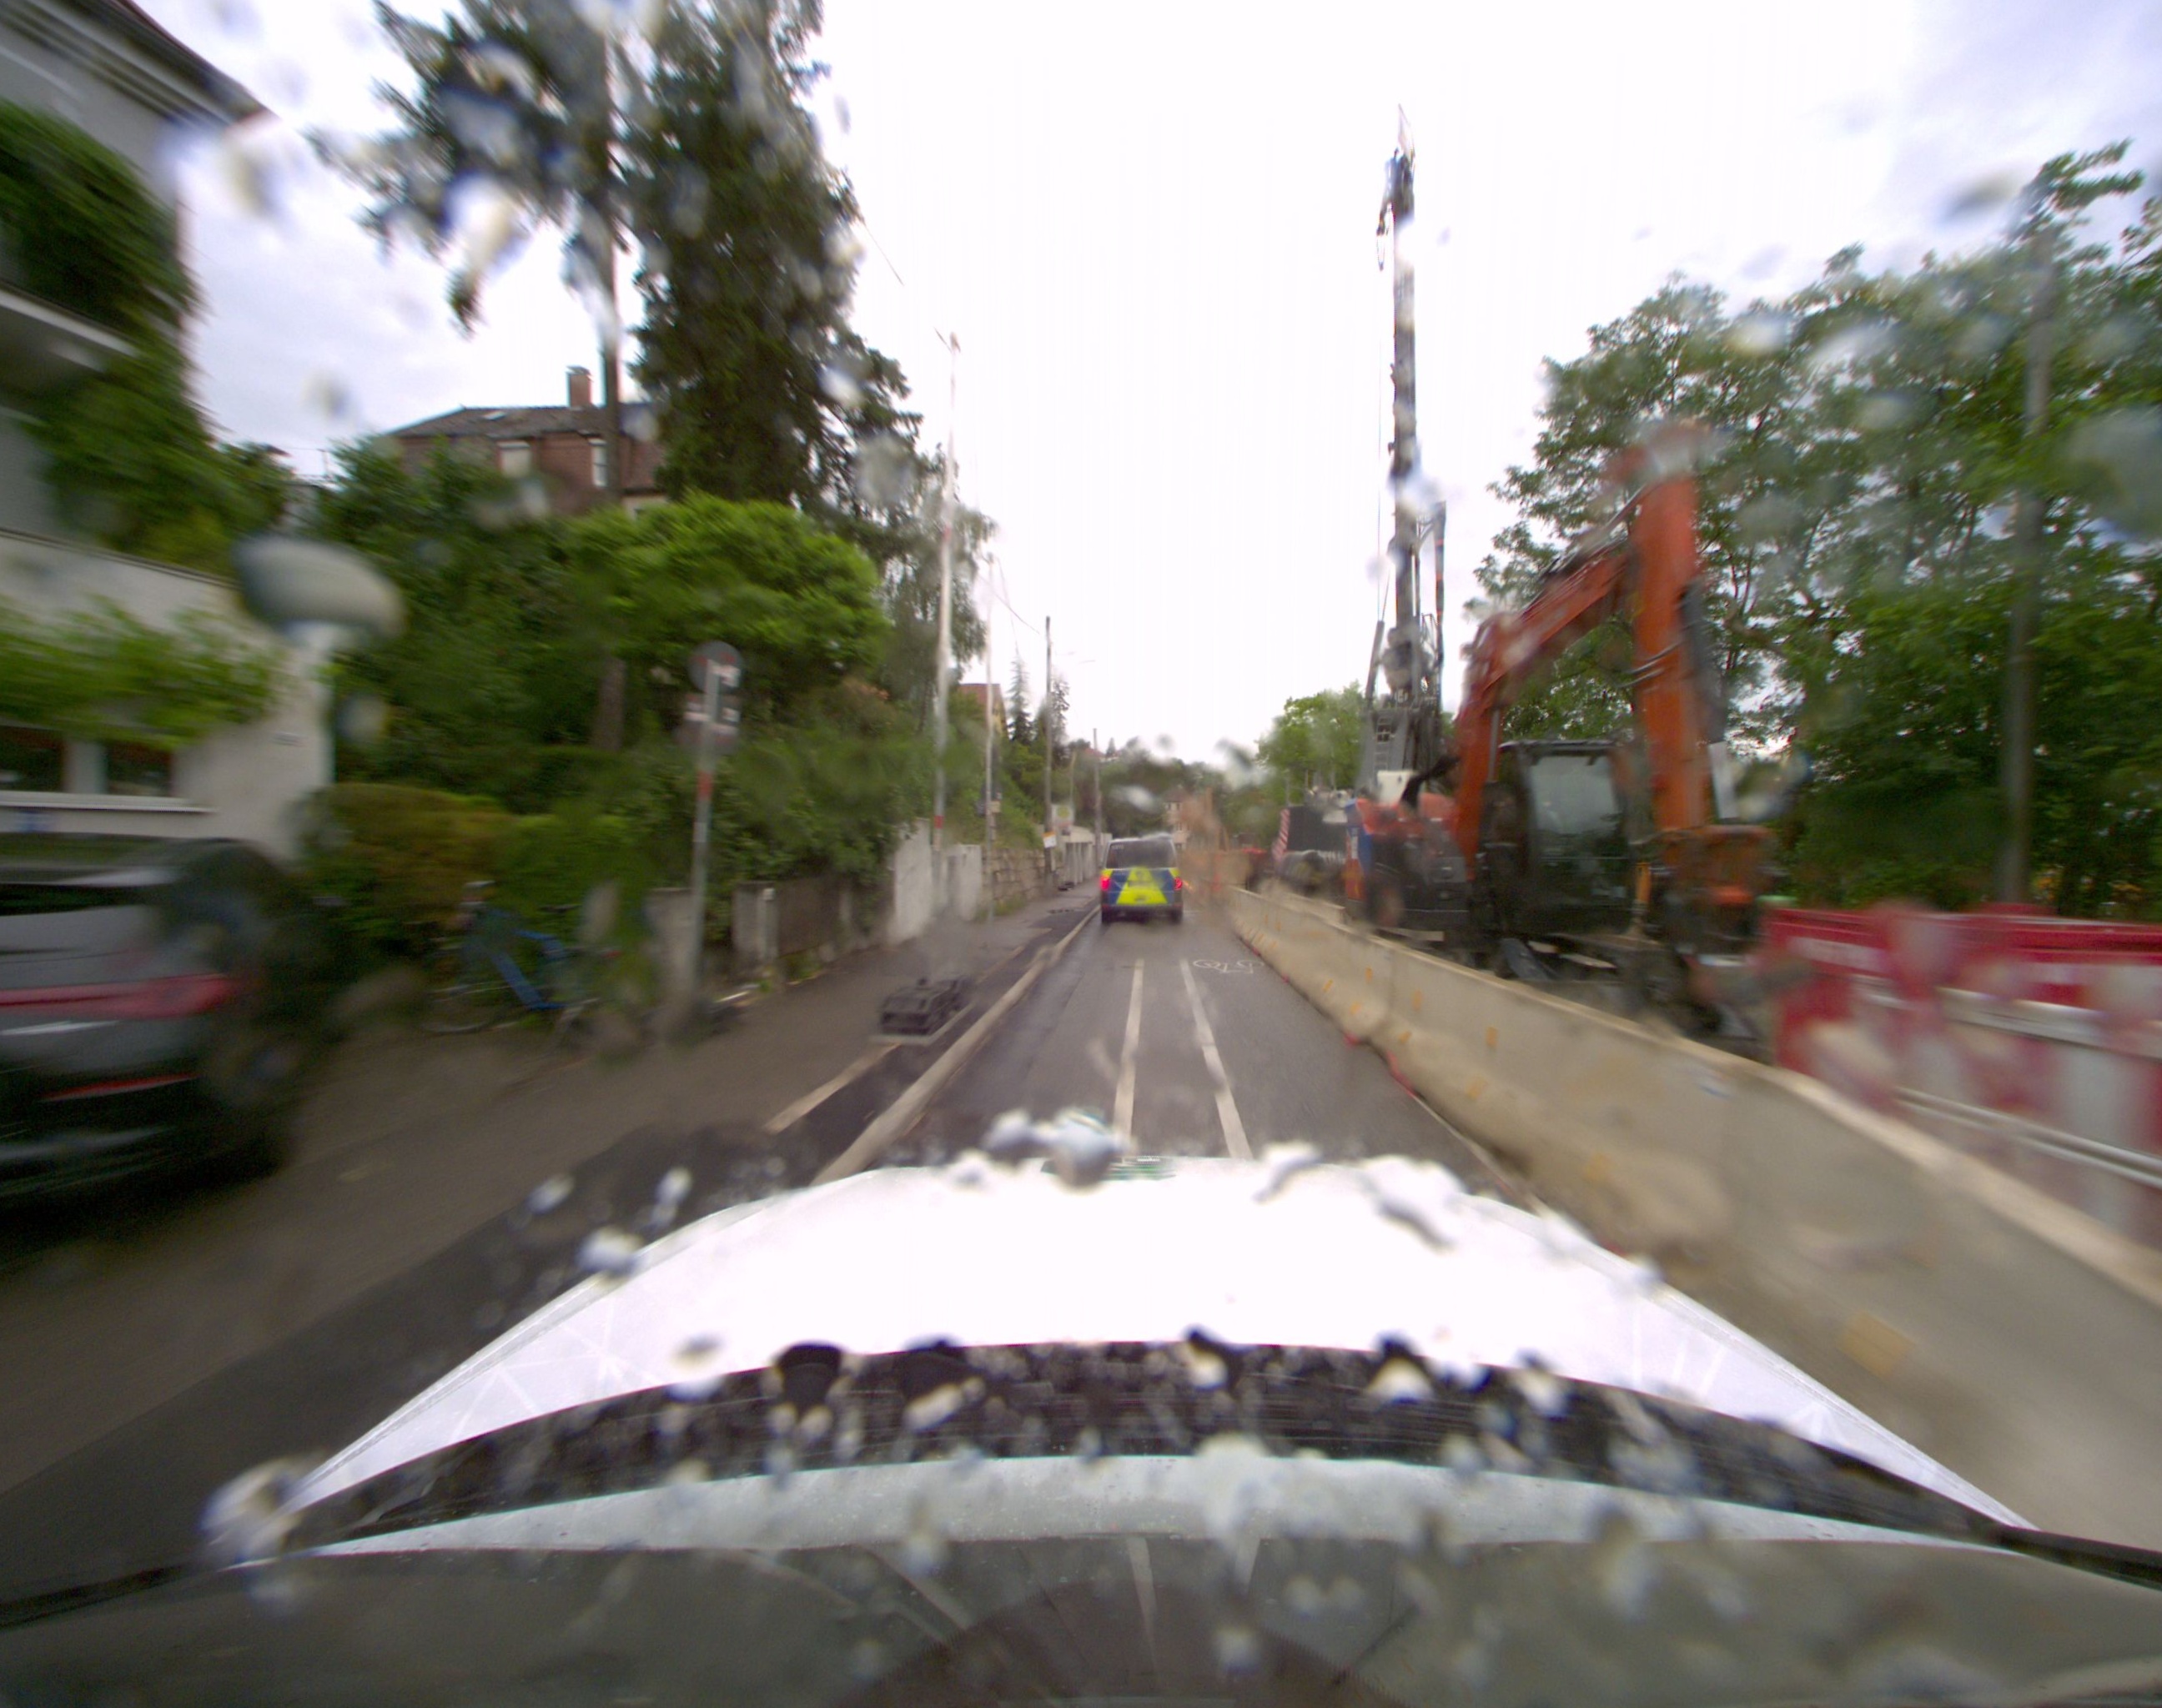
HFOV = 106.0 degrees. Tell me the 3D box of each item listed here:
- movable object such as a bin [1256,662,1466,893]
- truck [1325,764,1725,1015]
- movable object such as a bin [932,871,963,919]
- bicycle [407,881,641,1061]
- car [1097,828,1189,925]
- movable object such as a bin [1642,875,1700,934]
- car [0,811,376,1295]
[{"bbox_3d":[7.737,-1.614,21.783,3.647,5.066,7.208,-1,-1,32],"label":"movable object such as a bin"},{"bbox_3d":[4.235,0.334,8.551,2.539,2.108,3.307,-1,-1,4],"label":"truck"},{"bbox_3d":[-2.798,0.856,17.061,0.504,0.965,0.499,1,-1,4],"label":"movable object such as a bin"},{"bbox_3d":[-3.990,0.788,5.832,1.605,1.131,0.445,1,-1,18],"label":"bicycle"},{"bbox_3d":[1.479,0.508,19.590,1.899,2.010,4.444,1,-1,4],"label":"car"},{"bbox_3d":[13.618,1.145,18.812,0.752,1.308,0.844,1,-1,4],"label":"movable object such as a bin"},{"bbox_3d":[-4.790,0.599,3.981,1.795,1.525,3.955,2,-1,-38],"label":"car"}]
